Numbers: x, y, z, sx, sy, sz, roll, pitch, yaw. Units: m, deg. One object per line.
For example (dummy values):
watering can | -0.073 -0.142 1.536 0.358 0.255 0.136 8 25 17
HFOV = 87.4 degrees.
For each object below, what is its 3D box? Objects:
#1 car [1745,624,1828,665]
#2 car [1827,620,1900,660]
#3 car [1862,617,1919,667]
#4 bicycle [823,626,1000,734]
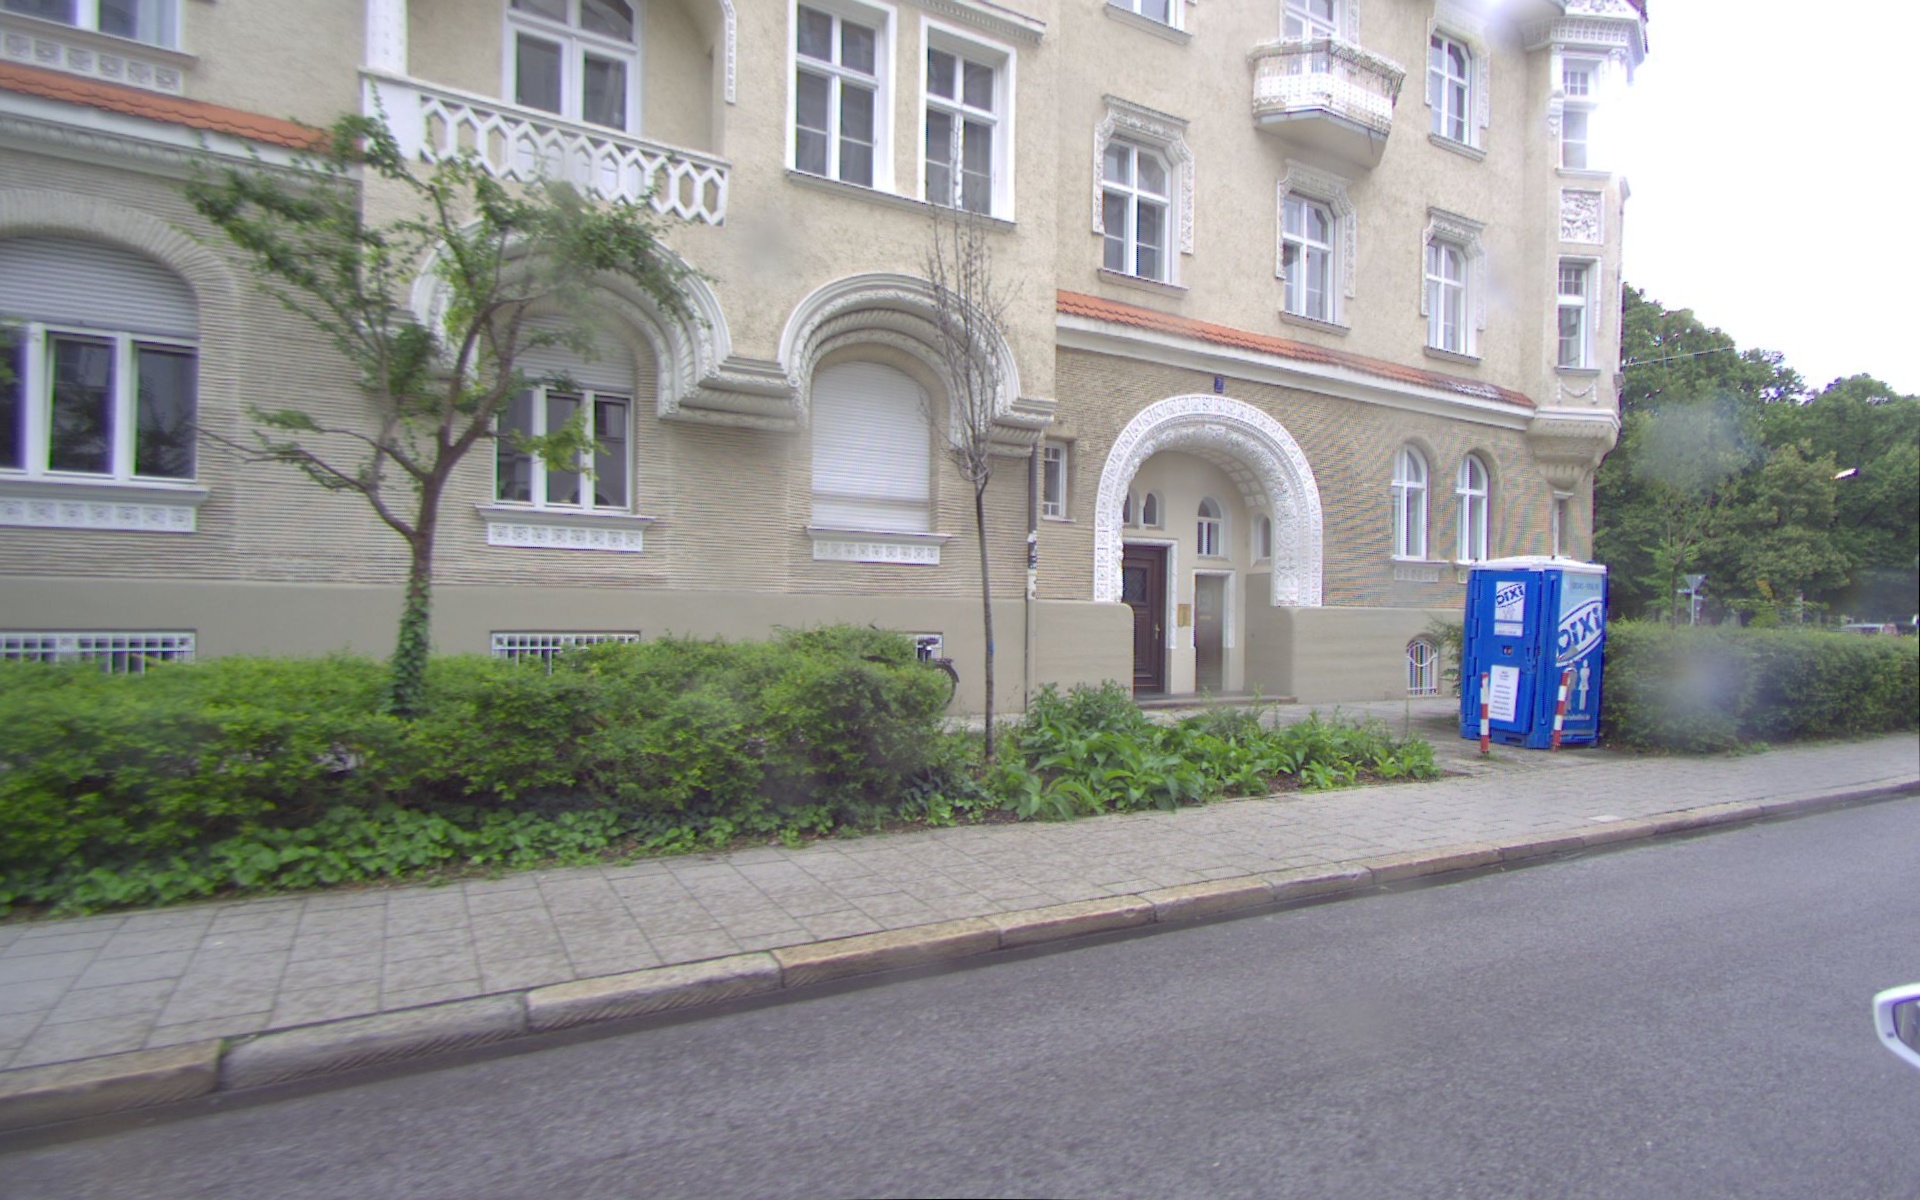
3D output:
car | 42.129 2.249 51.149 4.810 1.929 2.070 2 -1 -35
car | 53.583 2.374 59.557 5.548 2.294 2.070 2 -3 -36
car | 60.598 2.702 65.003 6.175 3.042 2.157 2 -1 -37
bicycle | -0.595 0.957 12.533 2.052 1.222 0.817 1 1 -29
